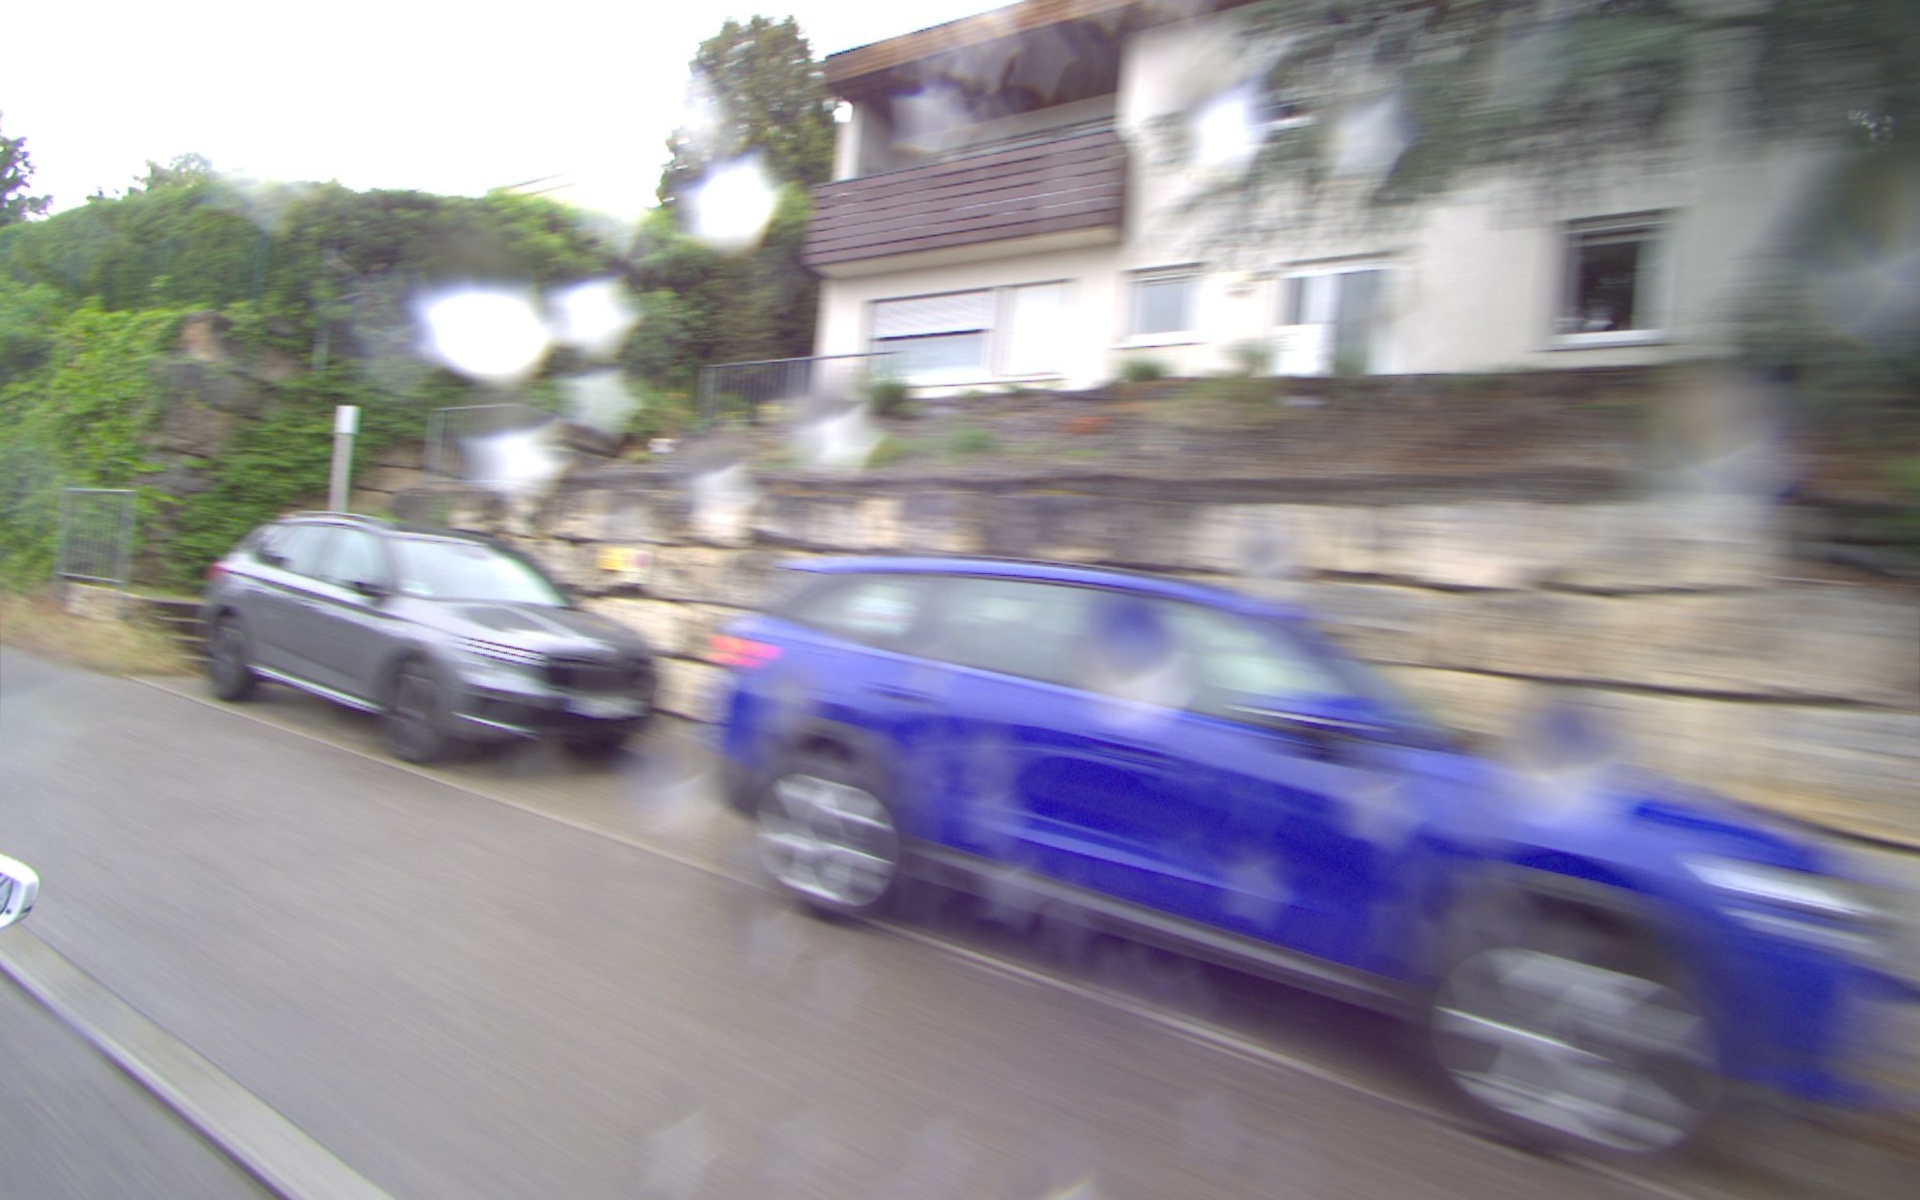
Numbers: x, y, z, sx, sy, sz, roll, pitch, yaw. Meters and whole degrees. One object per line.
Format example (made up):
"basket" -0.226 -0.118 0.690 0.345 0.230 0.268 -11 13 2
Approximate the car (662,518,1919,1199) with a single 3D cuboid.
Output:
"car" 1.089 0.722 4.488 4.467 1.692 1.996 7 1 29

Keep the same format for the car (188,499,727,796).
"car" -3.927 0.219 7.704 3.944 1.584 1.811 7 1 32
